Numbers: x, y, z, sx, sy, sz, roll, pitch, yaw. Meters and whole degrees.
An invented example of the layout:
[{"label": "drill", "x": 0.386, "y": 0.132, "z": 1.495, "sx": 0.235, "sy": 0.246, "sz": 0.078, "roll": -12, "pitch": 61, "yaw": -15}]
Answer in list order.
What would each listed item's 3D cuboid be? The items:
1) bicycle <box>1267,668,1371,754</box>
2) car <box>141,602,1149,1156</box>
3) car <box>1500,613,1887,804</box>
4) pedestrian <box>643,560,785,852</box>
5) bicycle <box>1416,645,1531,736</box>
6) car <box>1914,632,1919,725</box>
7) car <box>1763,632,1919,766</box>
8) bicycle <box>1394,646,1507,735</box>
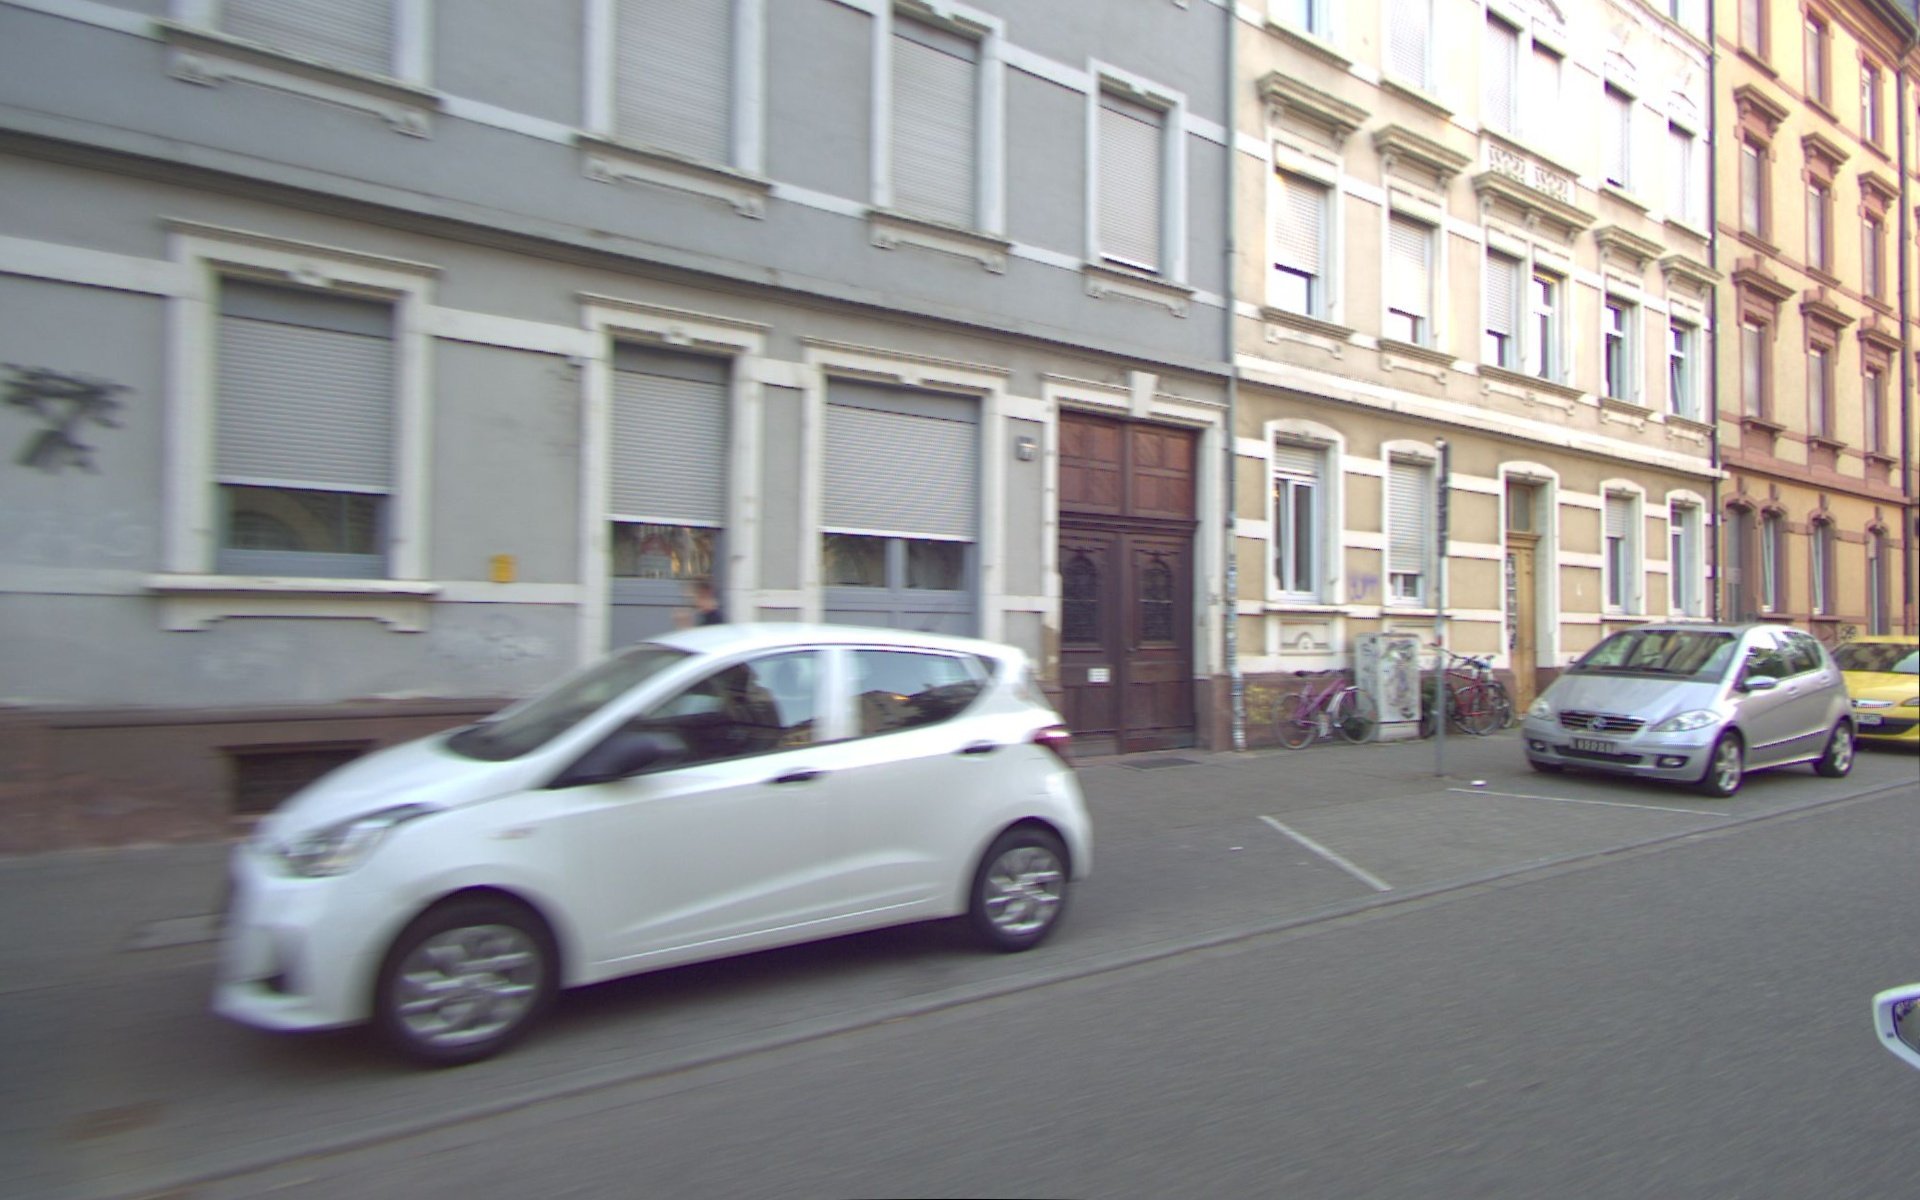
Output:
[{"label": "bicycle", "x": 4.447, "y": 1.346, "z": 12.400, "sx": 1.450, "sy": 0.989, "sz": 0.398, "roll": 1, "pitch": -5, "yaw": -35}, {"label": "car", "x": -1.173, "y": 0.857, "z": 4.707, "sx": 3.883, "sy": 1.597, "sz": 1.744, "roll": 1, "pitch": 0, "yaw": -32}, {"label": "car", "x": 7.743, "y": 0.997, "z": 10.530, "sx": 4.097, "sy": 1.614, "sz": 1.791, "roll": 1, "pitch": 0, "yaw": -30}, {"label": "pedestrian", "x": -1.820, "y": 0.738, "z": 7.379, "sx": 0.823, "sy": 1.974, "sz": 0.846, "roll": 1, "pitch": -2, "yaw": -28}, {"label": "bicycle", "x": 6.976, "y": 1.195, "z": 13.613, "sx": 1.842, "sy": 1.155, "sz": 0.477, "roll": 1, "pitch": -2, "yaw": -31}, {"label": "car", "x": 17.541, "y": 1.318, "z": 16.735, "sx": 3.706, "sy": 1.511, "sz": 1.717, "roll": 2, "pitch": 0, "yaw": -36}, {"label": "car", "x": 13.147, "y": 1.253, "z": 13.911, "sx": 4.752, "sy": 1.546, "sz": 1.827, "roll": 1, "pitch": 0, "yaw": -34}, {"label": "bicycle", "x": 6.805, "y": 1.218, "z": 13.905, "sx": 1.842, "sy": 1.155, "sz": 0.477, "roll": 1, "pitch": -2, "yaw": -31}]
